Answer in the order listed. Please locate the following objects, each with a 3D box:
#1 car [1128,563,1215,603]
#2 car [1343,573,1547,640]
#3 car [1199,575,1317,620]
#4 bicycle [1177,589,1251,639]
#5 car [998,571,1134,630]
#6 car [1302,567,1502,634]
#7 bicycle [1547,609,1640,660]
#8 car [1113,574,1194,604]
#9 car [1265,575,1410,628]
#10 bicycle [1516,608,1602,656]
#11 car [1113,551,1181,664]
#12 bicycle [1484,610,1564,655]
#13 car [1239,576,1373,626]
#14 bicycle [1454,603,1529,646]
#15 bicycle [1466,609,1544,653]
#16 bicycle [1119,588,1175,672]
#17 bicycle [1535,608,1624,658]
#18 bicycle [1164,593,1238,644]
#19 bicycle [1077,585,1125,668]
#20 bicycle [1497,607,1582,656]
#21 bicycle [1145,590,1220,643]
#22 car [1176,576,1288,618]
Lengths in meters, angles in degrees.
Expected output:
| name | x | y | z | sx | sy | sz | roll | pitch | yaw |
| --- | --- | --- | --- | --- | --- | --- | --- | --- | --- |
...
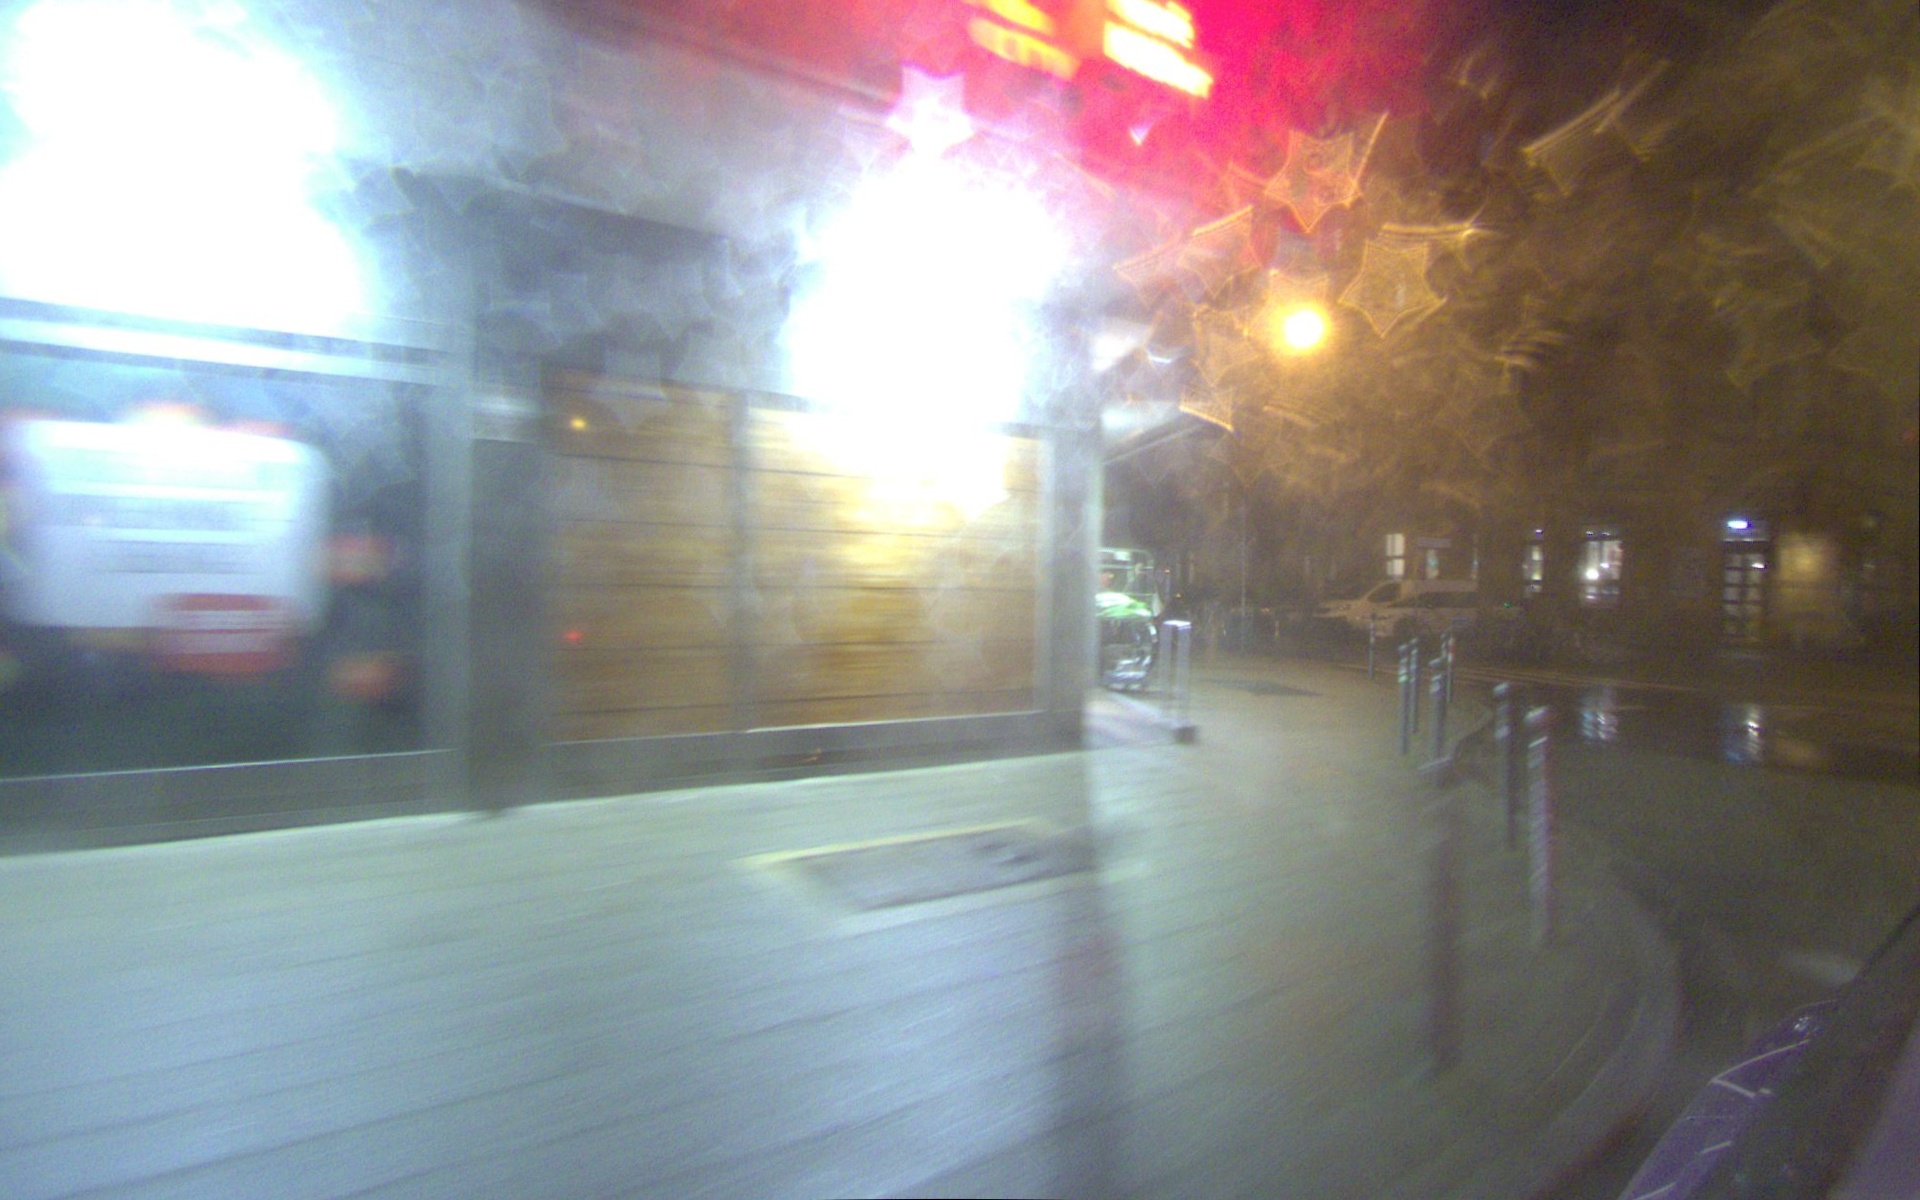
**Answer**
| name | x | y | z | sx | sy | sz | roll | pitch | yaw |
| --- | --- | --- | --- | --- | --- | --- | --- | --- | --- |
| car | 10.792 | -0.855 | 51.847 | 3.922 | 2.039 | 2.001 | 0 | -1 | -3 |
| car | 13.906 | 0.178 | 29.159 | 4.992 | 1.785 | 2.003 | 1 | 0 | -9 |
| car | 12.687 | -0.103 | 43.219 | 4.371 | 1.785 | 2.003 | 1 | 0 | -9 |
| bicycle | 6.203 | 0.329 | 24.819 | 0.443 | 1.191 | 1.965 | 0 | 0 | -34 |
| car | 3.081 | 0.005 | 29.270 | 3.621 | 1.598 | 1.757 | 0 | 0 | -33 |
| car | 13.714 | 0.009 | 31.543 | 5.434 | 1.914 | 2.003 | 1 | 0 | -9 |
| bicycle | 13.601 | 0.729 | 21.734 | 1.773 | 1.021 | 0.456 | 2 | 1 | -7 |
| car | 10.421 | -0.578 | 54.617 | 3.922 | 1.572 | 2.001 | 0 | 0 | -3 |
| car | 13.430 | 0.054 | 36.131 | 4.371 | 1.785 | 2.003 | 1 | 0 | -9 |
| bicycle | 13.583 | 0.726 | 22.946 | 1.773 | 1.021 | 0.380 | 2 | 1 | -7 |
| car | 3.211 | 0.115 | 17.448 | 0.859 | 1.864 | 0.965 | 2 | 0 | -6 |
| bicycle | 13.777 | 0.785 | 24.710 | 1.773 | 1.021 | 0.404 | 2 | 1 | -7 |
| car | 13.189 | 0.037 | 38.706 | 4.371 | 1.785 | 2.003 | 1 | 0 | -9 |
| bicycle | 13.588 | 0.623 | 25.899 | 1.741 | 1.021 | 0.404 | 2 | 1 | -7 |
| bicycle | 13.625 | 0.771 | 25.317 | 1.773 | 1.021 | 0.404 | 2 | 1 | -7 |
| bicycle | 2.833 | 0.426 | 15.471 | 0.376 | 1.188 | 1.788 | 2 | 1 | -4 |
| bicycle | 13.700 | 0.727 | 22.396 | 1.773 | 1.021 | 0.404 | 2 | 1 | -7 |
| bicycle | 5.810 | 0.422 | 24.510 | 0.443 | 1.191 | 1.965 | 0 | 0 | -34 |
| bicycle | 2.129 | 0.384 | 15.443 | 0.376 | 1.189 | 1.648 | -1 | 0 | -4 |
| bicycle | 13.414 | 0.725 | 23.439 | 1.773 | 1.021 | 0.404 | -3 | 0 | -7 |
| bicycle | 5.270 | 0.377 | 24.104 | 0.443 | 1.191 | 1.965 | 0 | 0 | -34 |
| car | 12.192 | -0.142 | 45.443 | 4.371 | 1.785 | 2.003 | 1 | 0 | -9 |
